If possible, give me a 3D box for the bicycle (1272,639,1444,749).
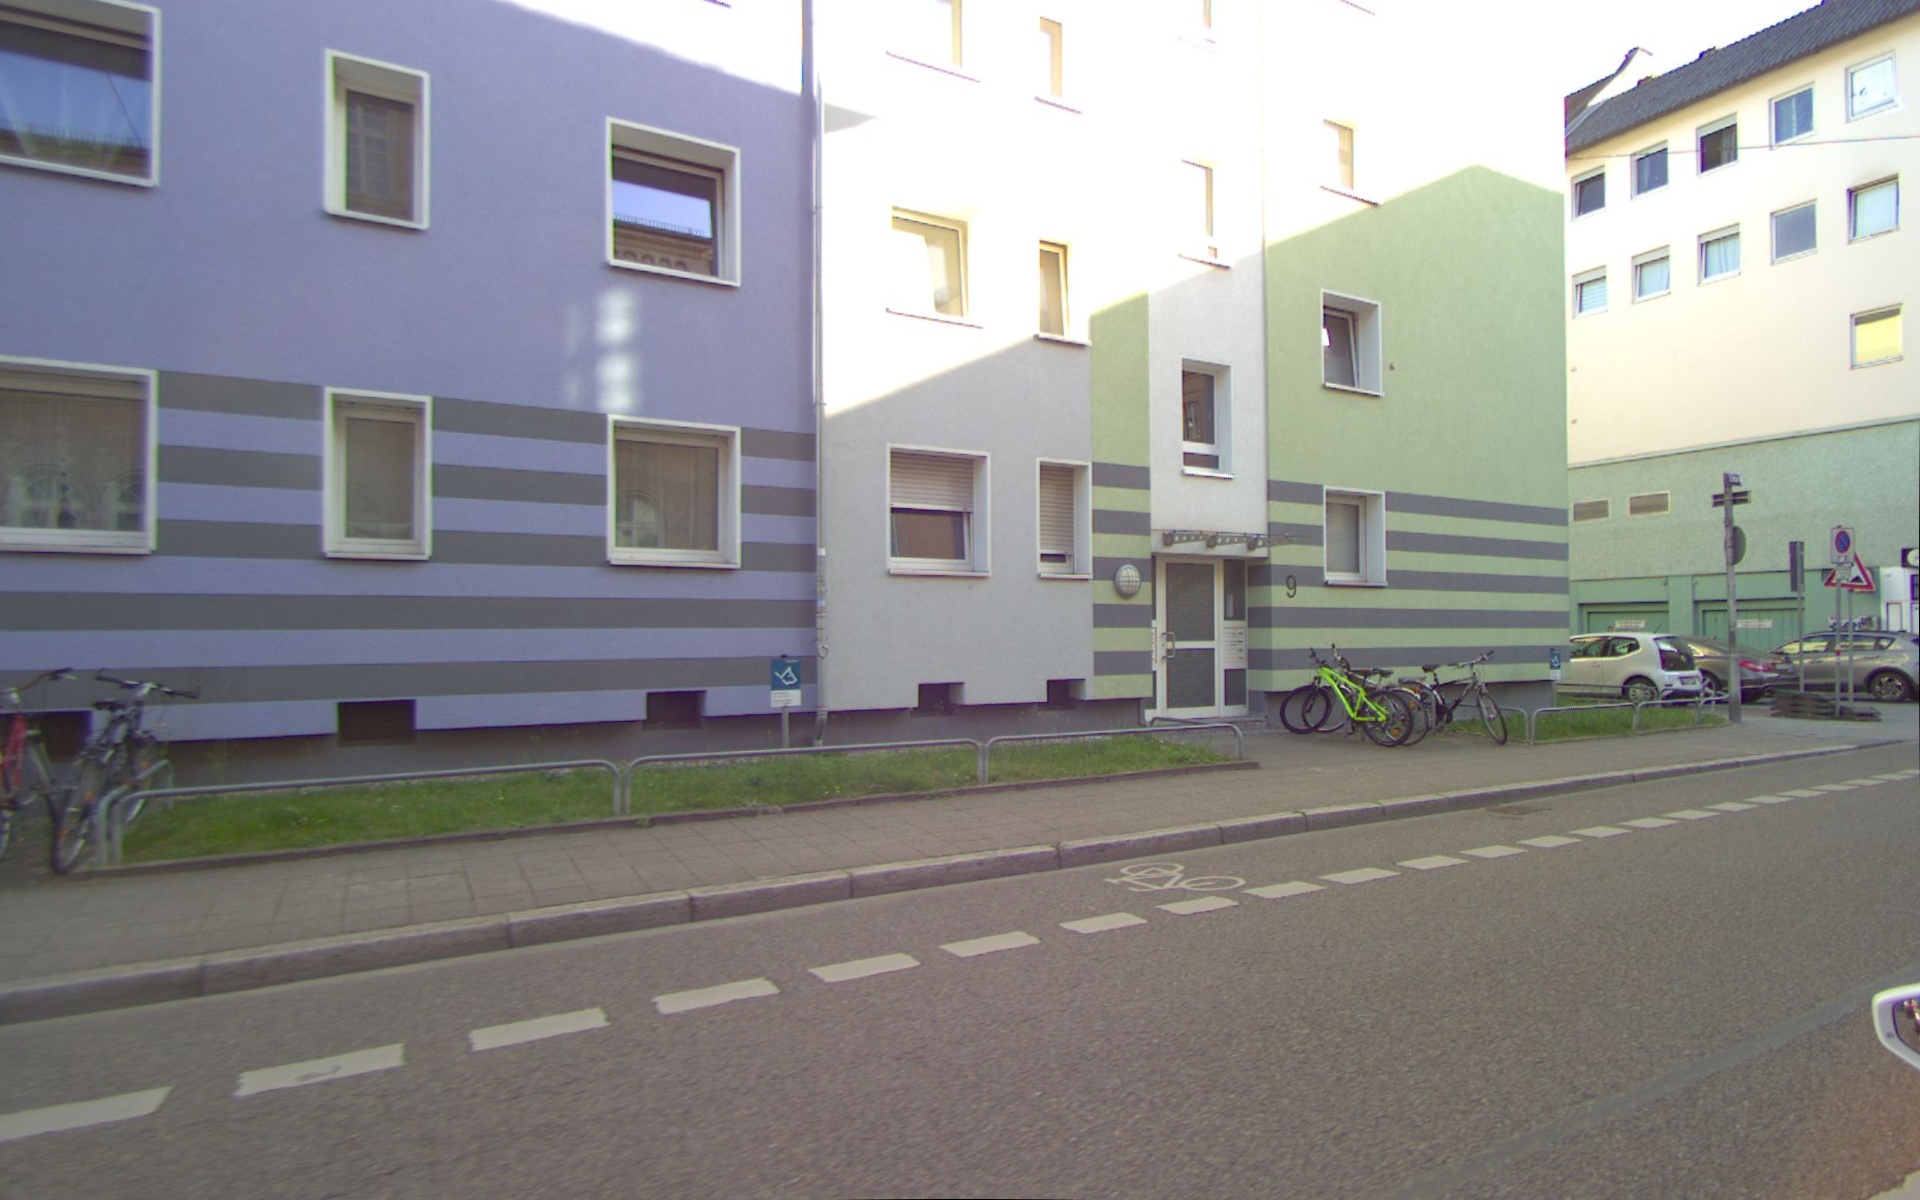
[{"bbox_3d":[5.001,1.142,12.722,0.609,1.195,1.909,1,1,-45],"label":"bicycle"}]

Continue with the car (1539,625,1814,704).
[{"bbox_3d":[15.722,1.348,22.358,1.974,1.562,4.599,1,-2,-26],"label":"car"}]

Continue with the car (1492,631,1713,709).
[{"bbox_3d":[13.412,1.413,21.164,1.790,1.462,3.488,0,-2,-28],"label":"car"}]

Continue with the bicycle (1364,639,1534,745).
[{"bbox_3d":[6.384,1.155,13.220,0.608,1.195,1.914,1,1,-38],"label":"bicycle"}]

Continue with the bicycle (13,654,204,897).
[{"bbox_3d":[-5.337,0.996,6.410,0.616,1.247,1.998,1,-2,-32],"label":"bicycle"}]

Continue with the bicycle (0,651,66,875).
[{"bbox_3d":[-6.052,0.961,6.232,0.462,1.258,1.630,1,-2,-32],"label":"bicycle"}]

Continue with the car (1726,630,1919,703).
[{"bbox_3d":[19.588,1.403,21.970,1.923,1.462,4.083,0,-2,-28],"label":"car"}]
